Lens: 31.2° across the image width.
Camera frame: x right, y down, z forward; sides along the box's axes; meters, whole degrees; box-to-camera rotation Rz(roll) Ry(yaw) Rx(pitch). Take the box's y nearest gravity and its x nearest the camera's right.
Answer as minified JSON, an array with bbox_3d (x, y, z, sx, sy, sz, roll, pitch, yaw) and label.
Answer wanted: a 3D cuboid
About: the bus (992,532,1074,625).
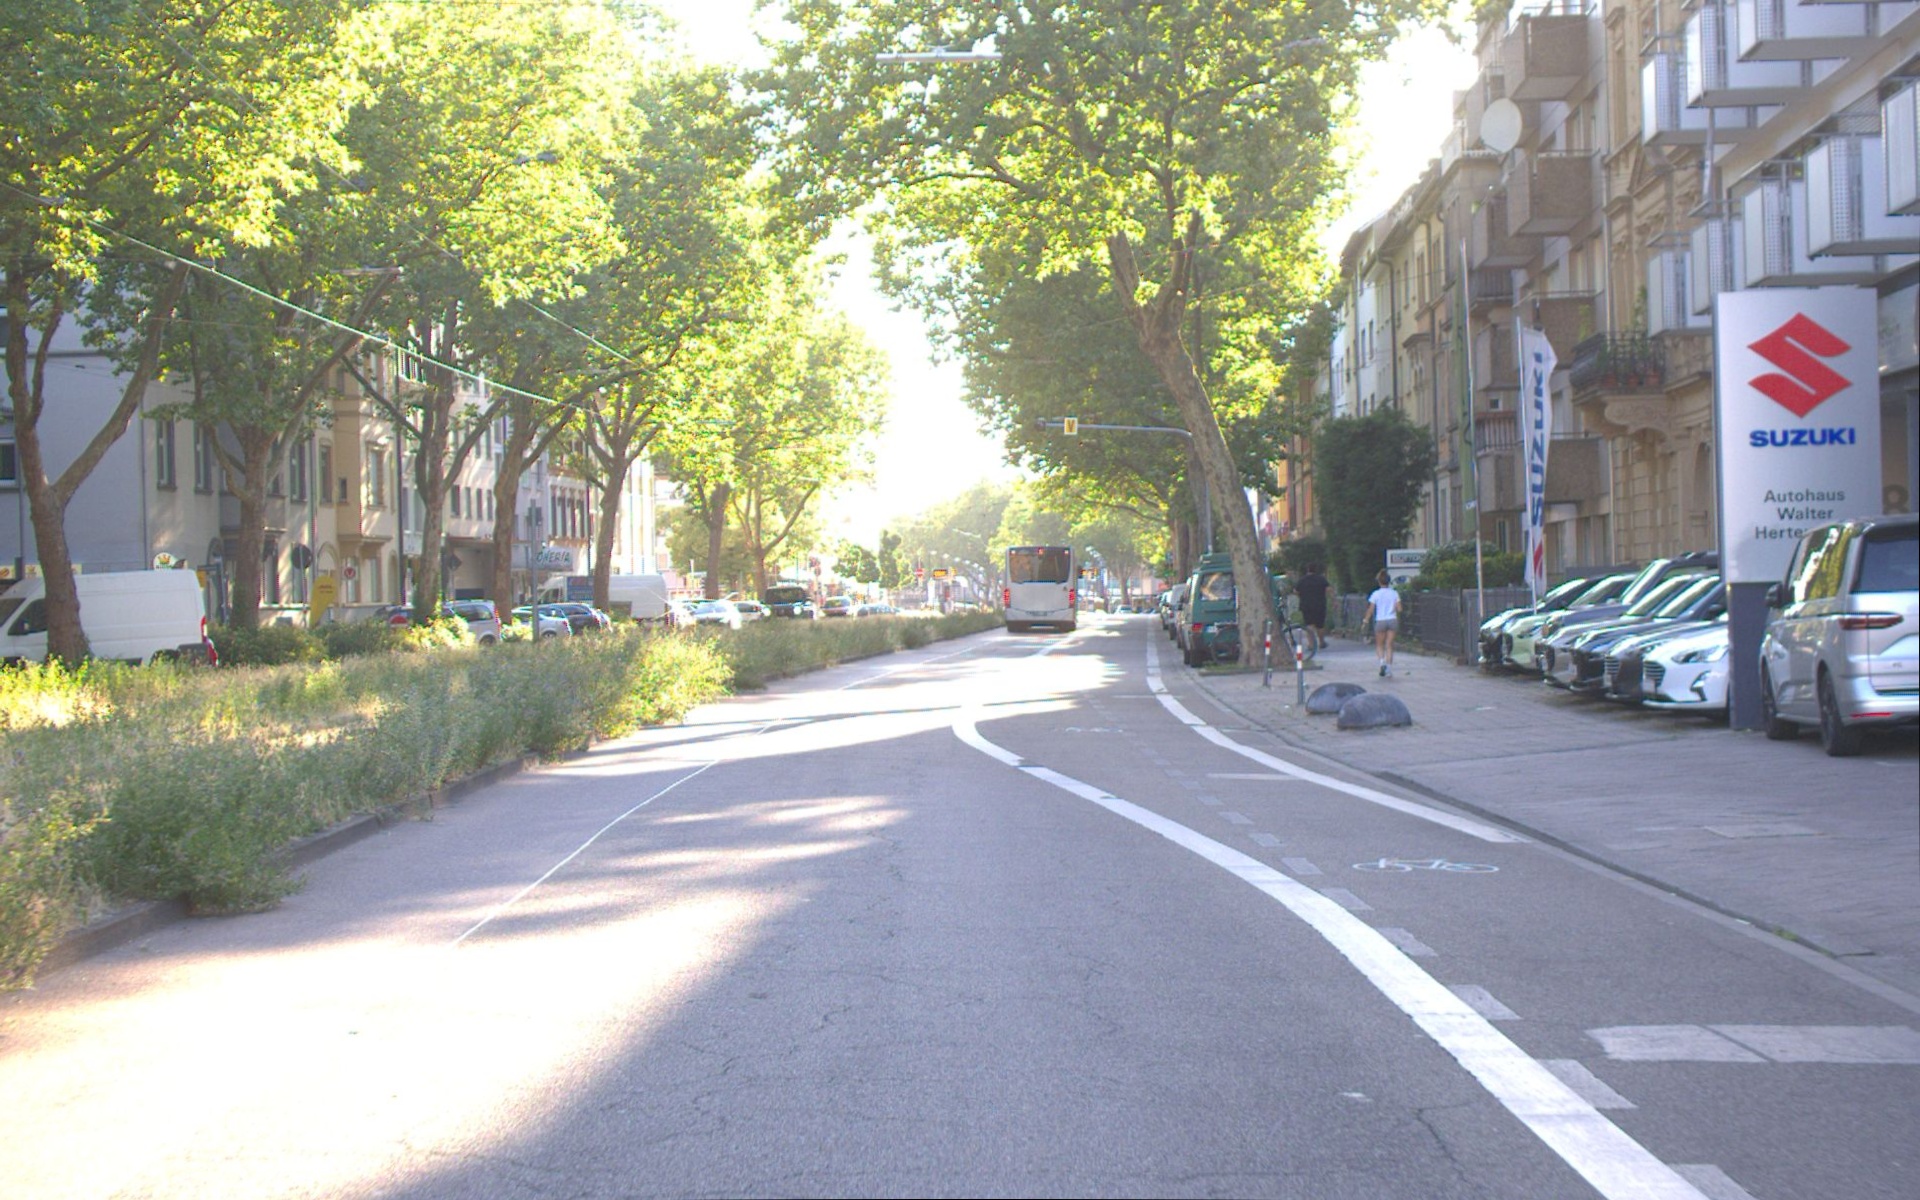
[{"bbox_3d":[2.618,-0.732,125.819,2.833,3.224,8.182,-1,-1,0],"label":"bus"}]

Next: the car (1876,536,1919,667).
[{"bbox_3d":[13.539,-0.024,43.138,1.614,1.651,3.598,-2,0,-44],"label":"car"}]

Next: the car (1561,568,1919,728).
[{"bbox_3d":[8.332,0.477,35.660,3.868,1.509,1.809,-1,1,1],"label":"car"}]

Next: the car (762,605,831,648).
[{"bbox_3d":[-6.743,1.121,141.640,1.868,1.688,4.777,-1,-1,-14],"label":"car"}]

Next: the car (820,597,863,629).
[{"bbox_3d":[-5.965,0.650,173.352,1.790,1.568,3.999,-1,0,3],"label":"car"}]

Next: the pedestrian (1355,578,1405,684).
[{"bbox_3d":[6.515,0.480,53.325,0.663,1.623,0.922,-1,-1,3],"label":"pedestrian"}]

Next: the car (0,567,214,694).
[{"bbox_3d":[-18.793,0.633,72.676,5.492,2.520,2.125,-2,0,-39],"label":"car"}]

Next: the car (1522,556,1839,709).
[{"bbox_3d":[8.769,0.382,42.077,3.581,1.714,1.682,-1,1,5],"label":"car"}]

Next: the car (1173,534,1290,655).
[{"bbox_3d":[5.330,-0.073,68.035,1.993,2.249,5.235,-1,-1,2],"label":"car"}]

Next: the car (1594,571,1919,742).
[{"bbox_3d":[8.216,0.512,33.066,3.810,1.496,1.914,-1,1,-2],"label":"car"}]

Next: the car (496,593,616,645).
[{"bbox_3d":[-15.189,0.716,129.338,3.987,1.693,1.856,-3,0,-28],"label":"car"}]

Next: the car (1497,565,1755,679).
[{"bbox_3d":[9.485,0.321,49.152,3.418,1.513,1.757,-1,-1,5],"label":"car"}]

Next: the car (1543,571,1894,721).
[{"bbox_3d":[8.293,0.493,37.782,3.418,1.520,1.741,-2,0,-1],"label":"car"}]

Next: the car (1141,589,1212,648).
[{"bbox_3d":[6.863,0.582,108.572,1.745,1.764,4.392,-2,-1,10],"label":"car"}]

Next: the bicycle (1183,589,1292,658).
[{"bbox_3d":[4.779,0.401,59.292,1.845,1.139,0.348,-1,-1,3],"label":"bicycle"}]

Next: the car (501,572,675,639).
[{"bbox_3d":[-15.678,0.237,145.000,6.935,2.669,2.186,-1,-1,-18],"label":"car"}]

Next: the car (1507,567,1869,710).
[{"bbox_3d":[8.469,0.438,40.229,3.819,1.535,1.859,-1,0,1],"label":"car"}]

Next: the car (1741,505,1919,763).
[{"bbox_3d":[7.769,0.265,28.469,1.893,1.942,4.899,-1,-1,6],"label":"car"}]

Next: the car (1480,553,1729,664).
[{"bbox_3d":[9.609,0.133,51.433,3.418,1.541,1.442,-1,-1,1],"label":"car"}]
